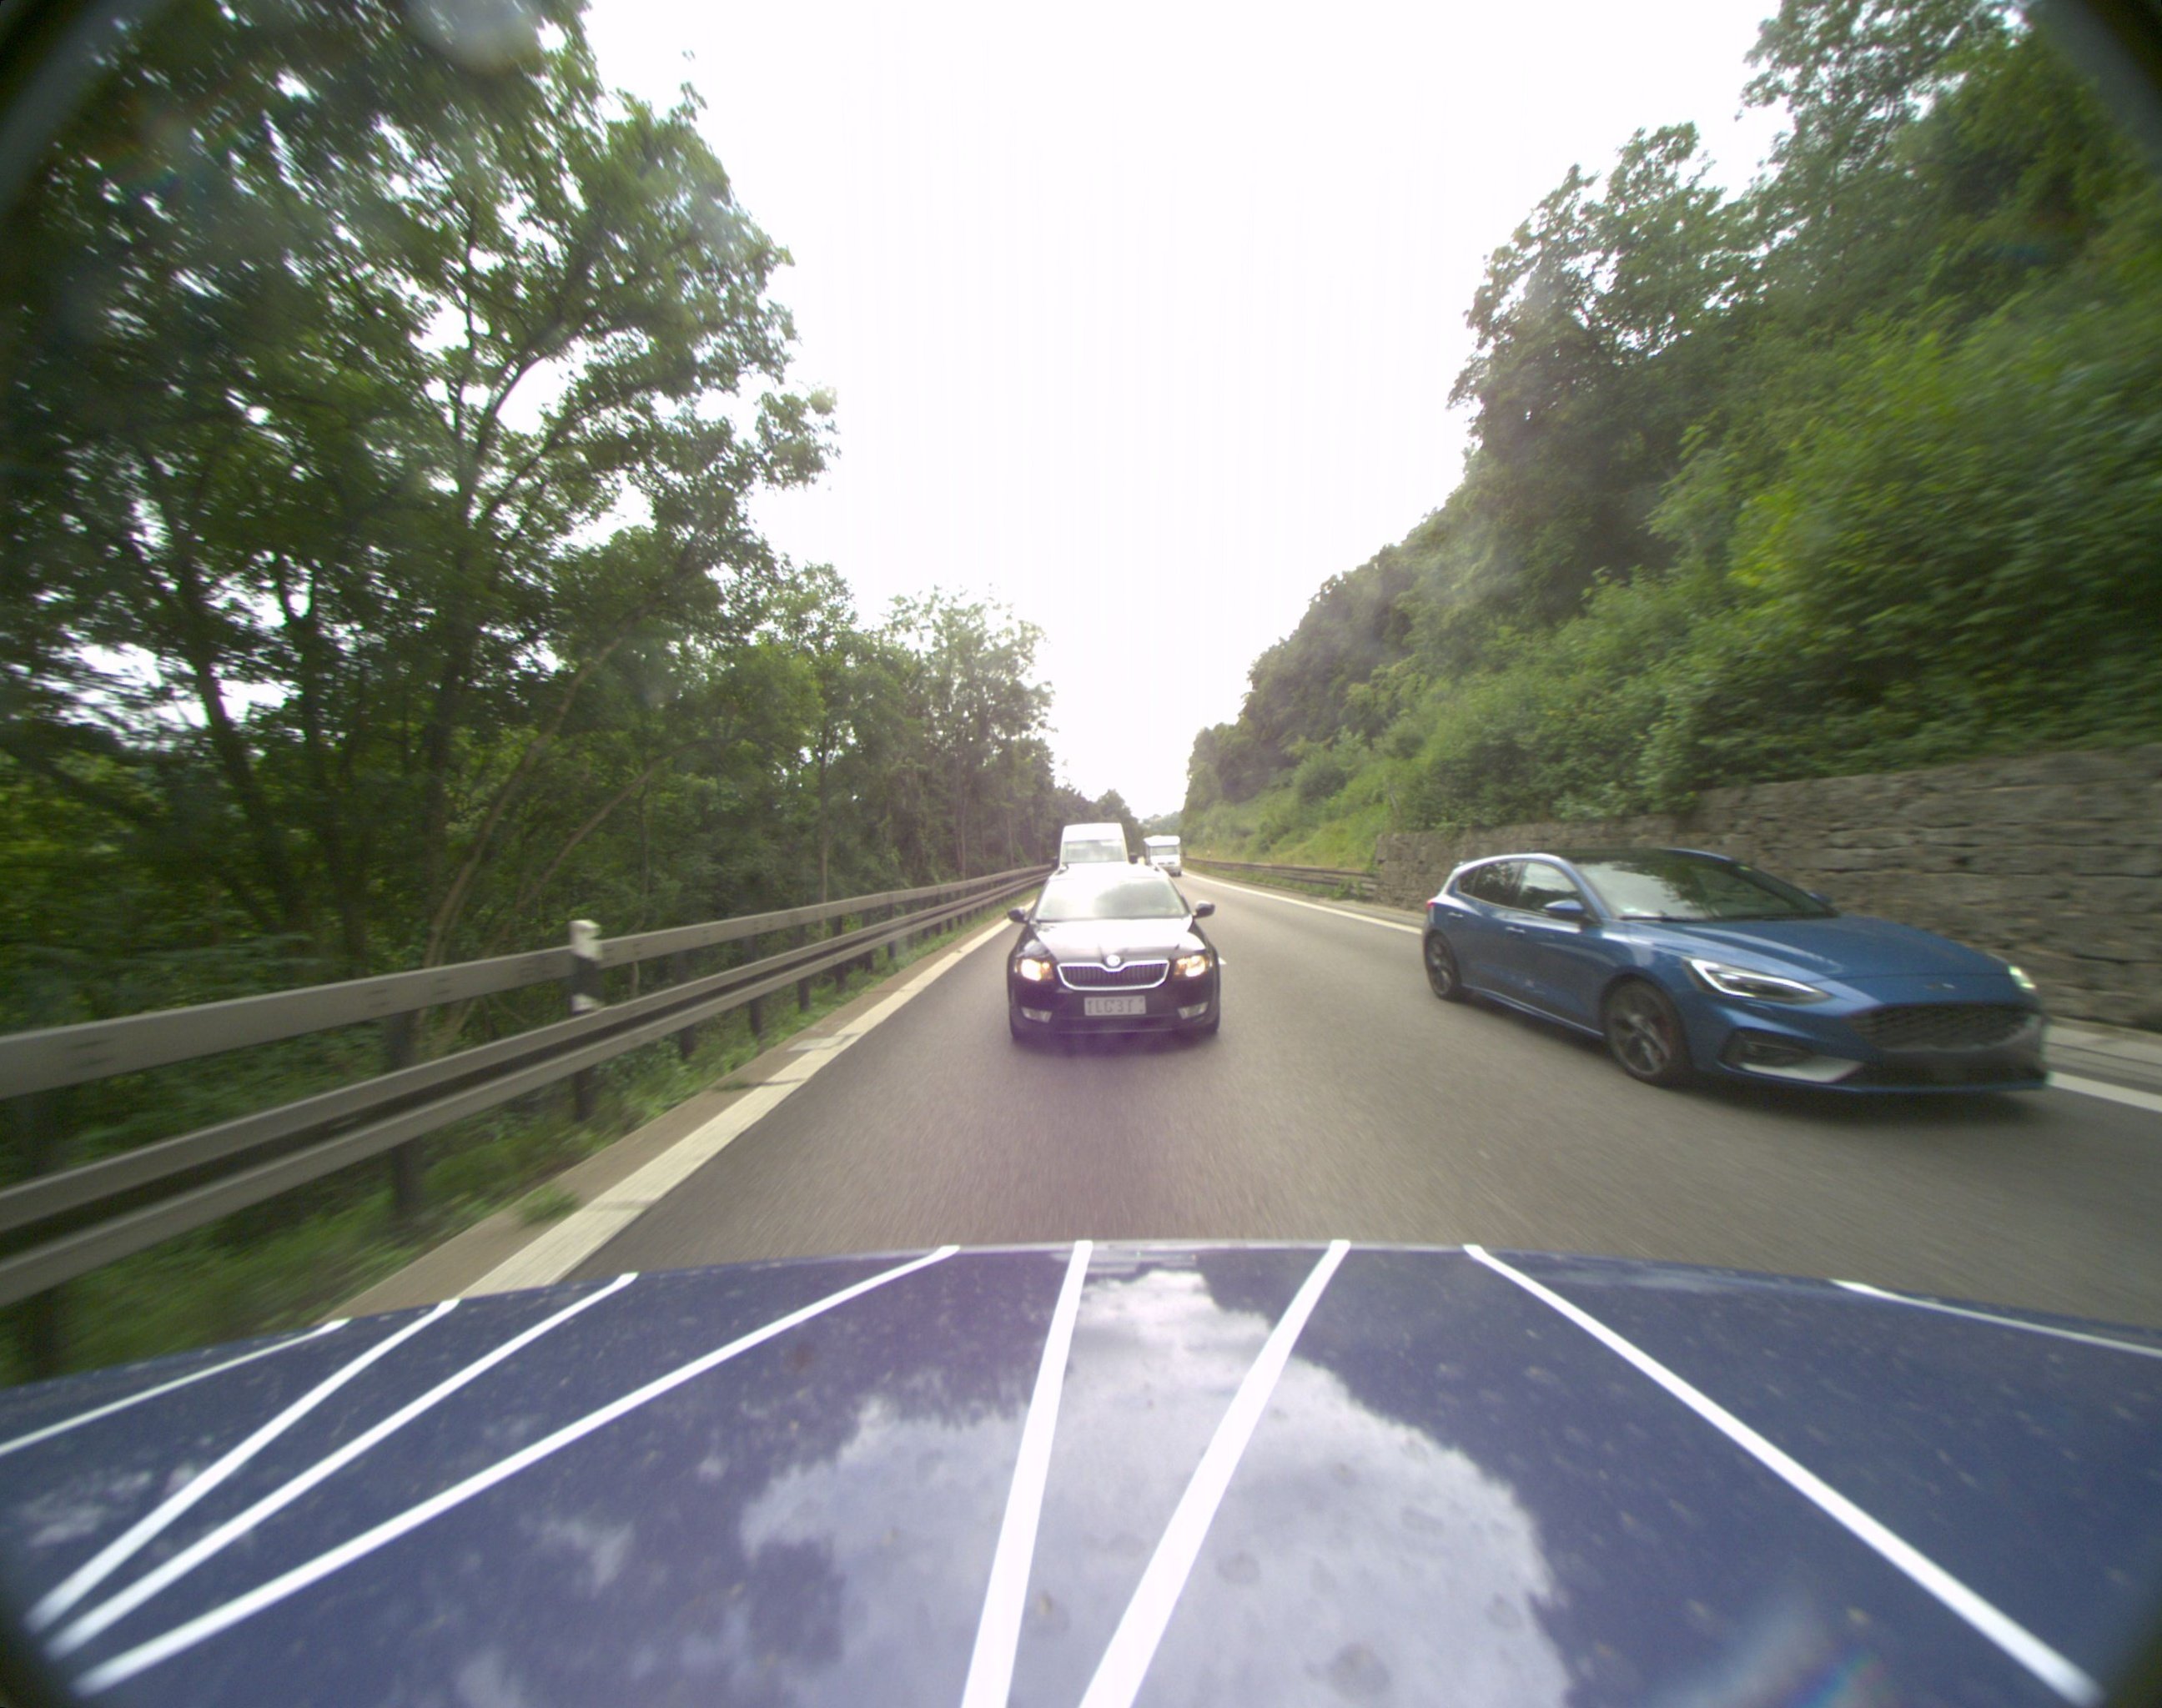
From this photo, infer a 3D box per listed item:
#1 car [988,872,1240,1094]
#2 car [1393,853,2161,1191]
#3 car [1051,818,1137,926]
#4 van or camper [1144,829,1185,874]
[{"bbox_3d":[0.173,0.972,7.636,1.751,1.409,4.400,-2,0,-2],"label":"car"},{"bbox_3d":[4.230,0.780,5.797,1.840,1.460,4.555,-2,1,1],"label":"car"},{"bbox_3d":[0.405,0.410,21.043,2.000,2.545,5.128,-2,1,2],"label":"car"},{"bbox_3d":[5.590,-0.182,51.454,2.270,2.719,7.025,-2,0,3],"label":"van or camper"}]
